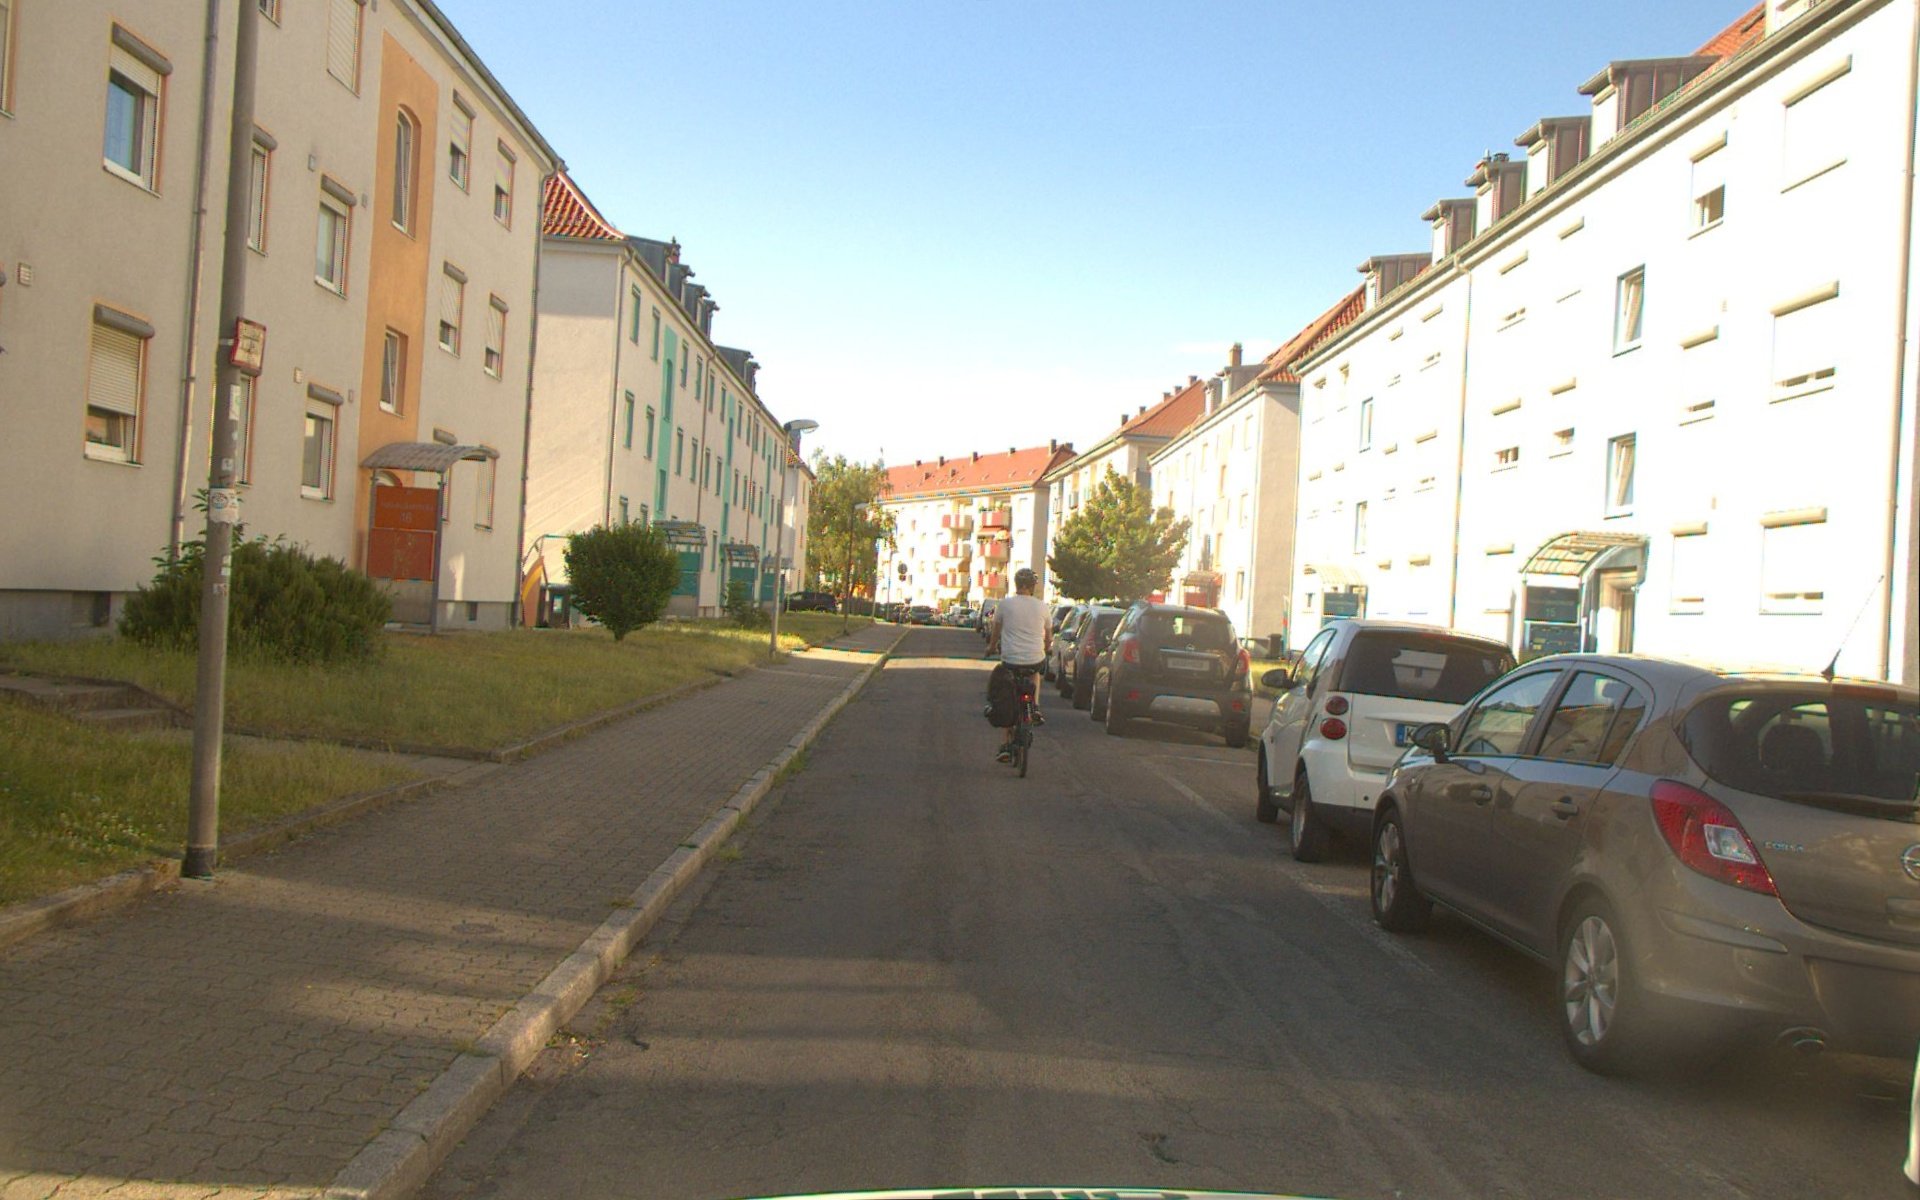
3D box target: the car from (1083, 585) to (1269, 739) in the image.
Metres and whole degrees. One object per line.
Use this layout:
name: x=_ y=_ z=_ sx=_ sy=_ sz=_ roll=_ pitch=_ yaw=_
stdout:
car: x=2.715 y=0.722 z=21.736 sx=1.747 sy=1.676 sz=4.468 roll=5 pitch=0 yaw=0

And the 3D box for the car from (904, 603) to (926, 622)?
car: x=-3.378 y=0.939 z=122.768 sx=1.440 sy=1.359 sz=3.138 roll=-1 pitch=0 yaw=-5

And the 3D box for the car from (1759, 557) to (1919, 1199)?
car: x=3.150 y=0.804 z=1.971 sx=1.953 sy=1.640 sz=4.996 roll=5 pitch=0 yaw=1

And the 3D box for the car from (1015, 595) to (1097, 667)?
car: x=2.473 y=0.775 z=43.575 sx=1.678 sy=1.623 sz=4.396 roll=6 pitch=0 yaw=-1

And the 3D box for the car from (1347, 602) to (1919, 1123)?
car: x=3.061 y=0.852 z=7.090 sx=1.660 sy=1.517 sz=3.983 roll=5 pitch=0 yaw=-2

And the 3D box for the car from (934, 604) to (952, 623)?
car: x=-1.504 y=1.204 z=147.556 sx=1.440 sy=1.542 sz=3.075 roll=4 pitch=0 yaw=-3

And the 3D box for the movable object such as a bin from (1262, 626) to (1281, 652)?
movable object such as a bin: x=11.220 y=1.397 z=59.590 sx=0.512 sy=0.901 sz=0.633 roll=3 pitch=0 yaw=-1

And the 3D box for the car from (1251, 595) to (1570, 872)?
car: x=3.005 y=0.817 z=11.564 sx=1.449 sy=1.555 sz=2.942 roll=5 pitch=0 yaw=3

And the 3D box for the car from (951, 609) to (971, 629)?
car: x=0.060 y=1.545 z=134.760 sx=1.354 sy=1.523 sz=3.075 roll=4 pitch=0 yaw=-3

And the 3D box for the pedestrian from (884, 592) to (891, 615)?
pedestrian: x=-4.988 y=0.239 z=114.426 sx=0.425 sy=1.602 sz=0.543 roll=2 pitch=0 yaw=-1

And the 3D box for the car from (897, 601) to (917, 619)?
car: x=-4.167 y=0.747 z=129.425 sx=1.440 sy=1.359 sz=3.138 roll=0 pitch=0 yaw=-5

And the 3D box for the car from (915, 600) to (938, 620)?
car: x=-2.419 y=0.719 z=118.434 sx=1.441 sy=1.359 sz=3.137 roll=0 pitch=0 yaw=-5

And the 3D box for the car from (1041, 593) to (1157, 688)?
car: x=2.655 y=0.730 z=32.439 sx=1.656 sy=1.602 sz=4.433 roll=4 pitch=0 yaw=-2

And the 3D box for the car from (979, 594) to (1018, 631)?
car: x=1.952 y=0.625 z=85.456 sx=1.641 sy=1.769 sz=3.940 roll=4 pitch=0 yaw=-3

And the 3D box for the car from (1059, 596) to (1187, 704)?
car: x=2.569 y=0.744 z=26.830 sx=1.608 sy=1.524 sz=4.156 roll=3 pitch=0 yaw=0

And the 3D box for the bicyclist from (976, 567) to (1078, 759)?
bicyclist: x=0.594 y=0.555 z=15.052 sx=0.792 sy=1.672 sz=0.898 roll=2 pitch=0 yaw=-3

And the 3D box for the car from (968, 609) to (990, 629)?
car: x=1.450 y=1.444 z=128.038 sx=1.440 sy=1.358 sz=3.139 roll=4 pitch=0 yaw=-3

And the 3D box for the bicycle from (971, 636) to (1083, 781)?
bicycle: x=0.576 y=0.945 z=15.066 sx=0.792 sy=1.148 sz=2.100 roll=2 pitch=0 yaw=-3

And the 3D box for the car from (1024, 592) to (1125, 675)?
car: x=2.603 y=0.733 z=38.490 sx=1.716 sy=1.645 sz=4.449 roll=5 pitch=0 yaw=-3

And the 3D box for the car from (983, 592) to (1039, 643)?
car: x=1.884 y=0.608 z=61.930 sx=1.667 sy=1.699 sz=4.377 roll=5 pitch=0 yaw=-2

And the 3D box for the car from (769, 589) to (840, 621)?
car: x=-9.329 y=0.304 z=99.542 sx=4.149 sy=1.667 sz=1.581 roll=3 pitch=0 yaw=-5

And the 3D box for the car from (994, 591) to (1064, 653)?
car: x=2.107 y=0.662 z=51.351 sx=1.824 sy=1.697 sz=4.126 roll=5 pitch=0 yaw=-1
